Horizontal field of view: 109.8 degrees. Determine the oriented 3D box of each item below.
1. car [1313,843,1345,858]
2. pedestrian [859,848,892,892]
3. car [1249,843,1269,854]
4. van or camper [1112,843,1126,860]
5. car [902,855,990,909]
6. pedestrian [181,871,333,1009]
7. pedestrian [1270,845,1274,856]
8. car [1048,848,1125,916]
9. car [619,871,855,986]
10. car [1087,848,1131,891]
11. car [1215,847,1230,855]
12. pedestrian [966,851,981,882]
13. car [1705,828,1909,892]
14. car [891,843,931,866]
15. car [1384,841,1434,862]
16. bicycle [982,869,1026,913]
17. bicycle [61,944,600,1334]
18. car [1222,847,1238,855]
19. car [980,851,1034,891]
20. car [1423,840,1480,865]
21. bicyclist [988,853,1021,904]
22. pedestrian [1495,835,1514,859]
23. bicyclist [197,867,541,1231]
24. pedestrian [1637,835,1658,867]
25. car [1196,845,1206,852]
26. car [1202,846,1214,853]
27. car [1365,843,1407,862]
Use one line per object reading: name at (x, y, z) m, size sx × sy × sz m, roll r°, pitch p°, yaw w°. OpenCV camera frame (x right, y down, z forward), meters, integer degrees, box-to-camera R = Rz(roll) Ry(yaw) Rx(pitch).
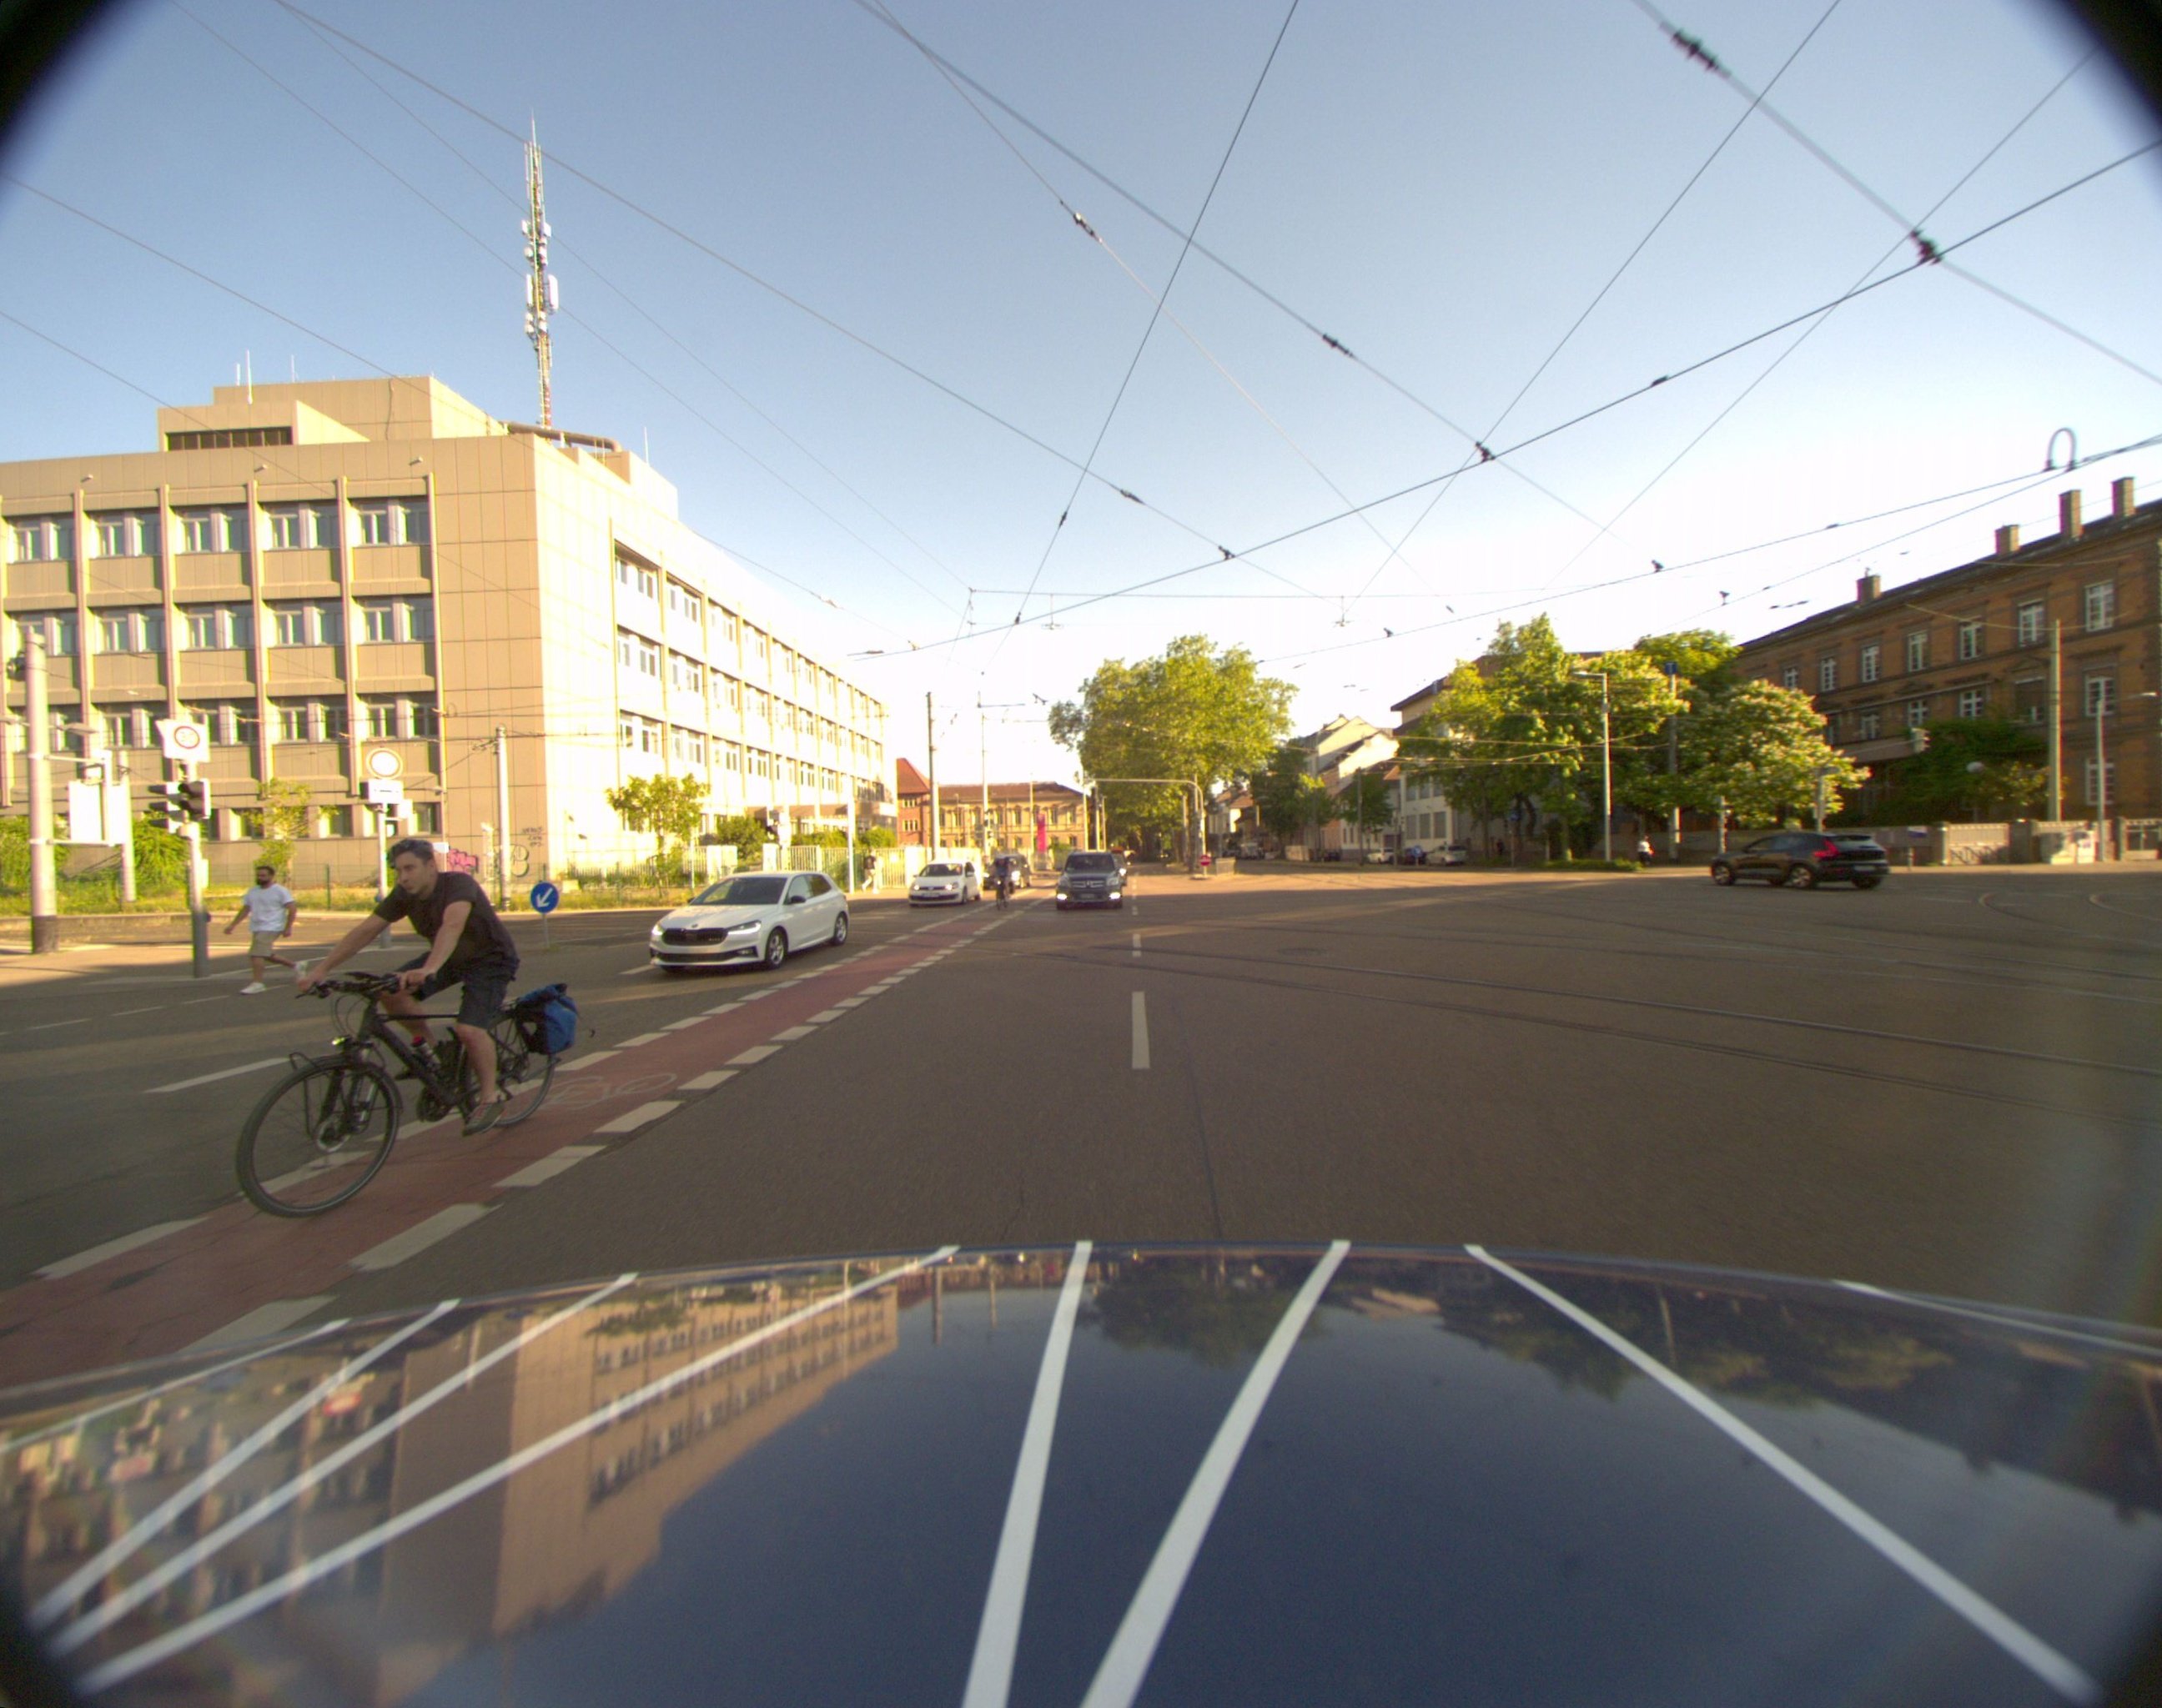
car at (27.626, -0.388, 84.832) m, size 2.087 × 1.462 × 4.579 m, roll -4°, pitch 0°, yaw 0°
pedestrian at (-8.659, 0.673, 32.009) m, size 1.084 × 1.802 × 0.734 m, roll -2°, pitch 1°, yaw -40°
car at (29.495, -0.973, 125.989) m, size 2.087 × 1.664 × 4.532 m, roll -4°, pitch 0°, yaw 0°
van or camper at (5.868, -0.429, 117.711) m, size 1.998 × 2.578 × 5.627 m, roll -3°, pitch 1°, yaw 4°
car at (-4.363, 0.857, 25.181) m, size 1.793 × 1.493 × 4.302 m, roll -4°, pitch 0°, yaw 4°
pedestrian at (-11.729, 1.175, 10.871) m, size 0.779 × 1.813 × 1.215 m, roll -1°, pitch 1°, yaw -1°
pedestrian at (32.716, -0.627, 130.282) m, size 0.561 × 1.798 × 0.705 m, roll -1°, pitch 1°, yaw 6°
car at (0.250, 0.724, 22.063) m, size 1.908 × 1.634 × 4.517 m, roll -4°, pitch 0°, yaw 3°
car at (-5.267, 1.059, 12.327) m, size 1.705 × 1.381 × 4.075 m, roll -2°, pitch 0°, yaw 4°
car at (1.328, 0.646, 34.447) m, size 1.793 × 1.694 × 4.302 m, roll -4°, pitch 0°, yaw 4°
car at (30.204, -0.711, 162.176) m, size 2.087 × 1.531 × 5.105 m, roll -4°, pitch 0°, yaw 0°
pedestrian at (-6.116, 0.713, 43.151) m, size 0.592 × 1.752 × 0.770 m, roll -1°, pitch 1°, yaw 8°
car at (20.973, 0.149, 22.241) m, size 1.960 × 1.663 × 4.260 m, roll -1°, pitch 0°, yaw 2°
car at (-14.515, 0.008, 65.096) m, size 1.998 × 1.832 × 4.786 m, roll -1°, pitch 0°, yaw 3°
car at (26.780, -0.195, 62.153) m, size 2.087 × 1.493 × 4.457 m, roll -4°, pitch 0°, yaw 0°
bicycle at (-2.213, 1.043, 22.071) m, size 0.764 × 1.137 × 2.308 m, roll -1°, pitch 1°, yaw 7°
bicycle at (-3.588, 1.230, 3.968) m, size 0.651 × 1.273 × 1.967 m, roll -1°, pitch 1°, yaw 8°
car at (29.221, -0.568, 149.104) m, size 2.087 × 1.531 × 4.516 m, roll -4°, pitch 0°, yaw 0°
car at (-3.430, 0.742, 36.103) m, size 1.793 × 1.634 × 4.302 m, roll -4°, pitch 0°, yaw 4°
car at (26.903, -0.129, 55.365) m, size 2.087 × 1.610 × 4.098 m, roll -4°, pitch 0°, yaw 0°
bicyclist at (-2.216, 0.698, 22.136) m, size 0.727 × 1.414 × 0.859 m, roll -3°, pitch 1°, yaw 7°
pedestrian at (30.550, -0.498, 54.815) m, size 0.735 × 1.742 × 1.019 m, roll -1°, pitch 1°, yaw 1°
bicyclist at (-3.588, 0.883, 3.949) m, size 0.651 × 1.593 × 1.089 m, roll -1°, pitch 1°, yaw 8°
pedestrian at (29.929, -0.144, 40.130) m, size 0.569 × 1.655 × 0.631 m, roll -4°, pitch 1°, yaw -2°
car at (31.148, -1.395, 197.302) m, size 2.087 × 1.531 × 4.009 m, roll -4°, pitch 0°, yaw 0°
car at (31.243, -1.057, 186.982) m, size 2.087 × 1.531 × 4.256 m, roll -4°, pitch 0°, yaw 0°
car at (27.223, -0.160, 67.913) m, size 2.087 × 1.481 × 3.997 m, roll -4°, pitch 0°, yaw 0°
